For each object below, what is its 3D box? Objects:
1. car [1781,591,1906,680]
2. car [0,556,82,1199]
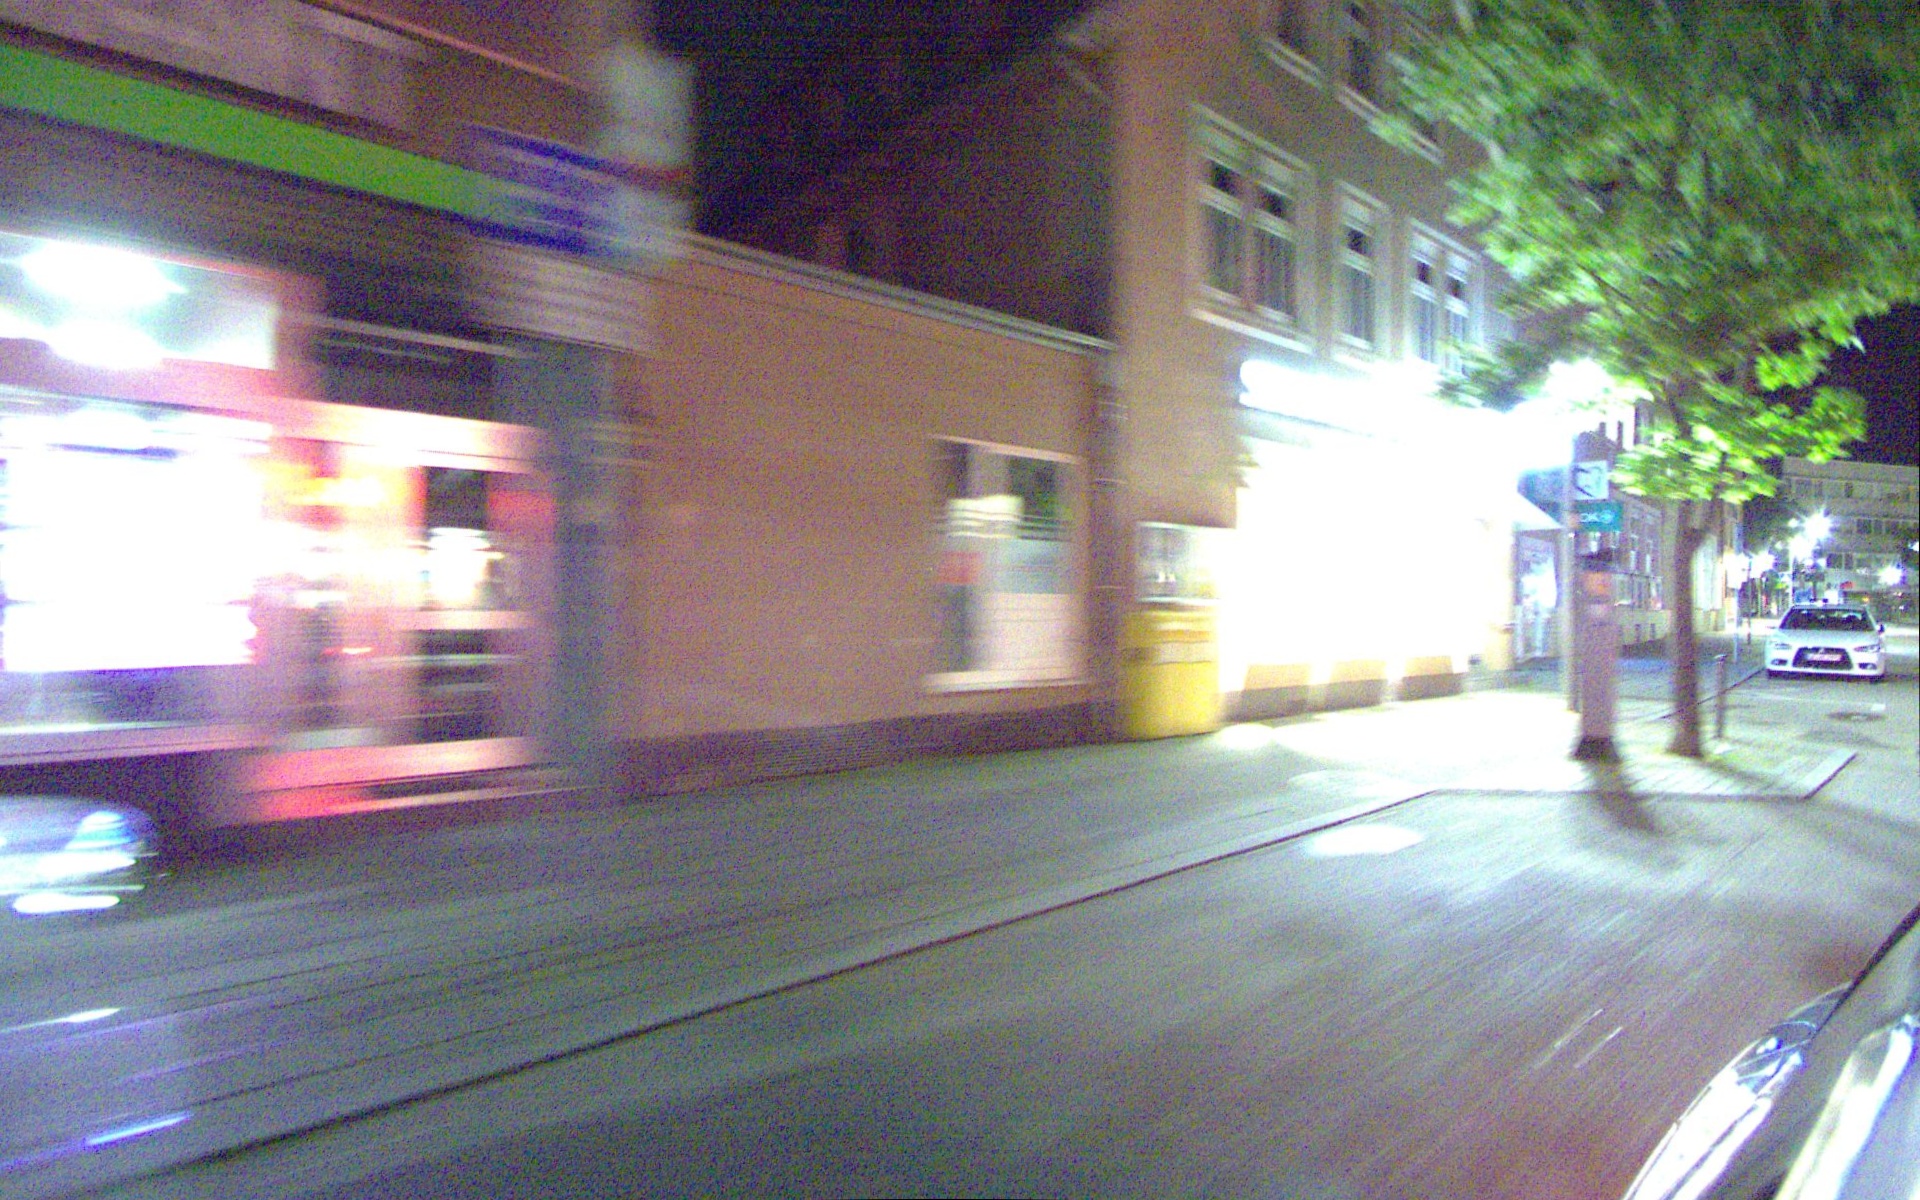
[{"bbox_3d":[17.803,0.613,20.363,1.741,1.506,4.565,1,2,42],"label":"car"},{"bbox_3d":[-3.104,0.666,0.132,4.423,1.459,1.735,0,0,-45],"label":"car"}]
